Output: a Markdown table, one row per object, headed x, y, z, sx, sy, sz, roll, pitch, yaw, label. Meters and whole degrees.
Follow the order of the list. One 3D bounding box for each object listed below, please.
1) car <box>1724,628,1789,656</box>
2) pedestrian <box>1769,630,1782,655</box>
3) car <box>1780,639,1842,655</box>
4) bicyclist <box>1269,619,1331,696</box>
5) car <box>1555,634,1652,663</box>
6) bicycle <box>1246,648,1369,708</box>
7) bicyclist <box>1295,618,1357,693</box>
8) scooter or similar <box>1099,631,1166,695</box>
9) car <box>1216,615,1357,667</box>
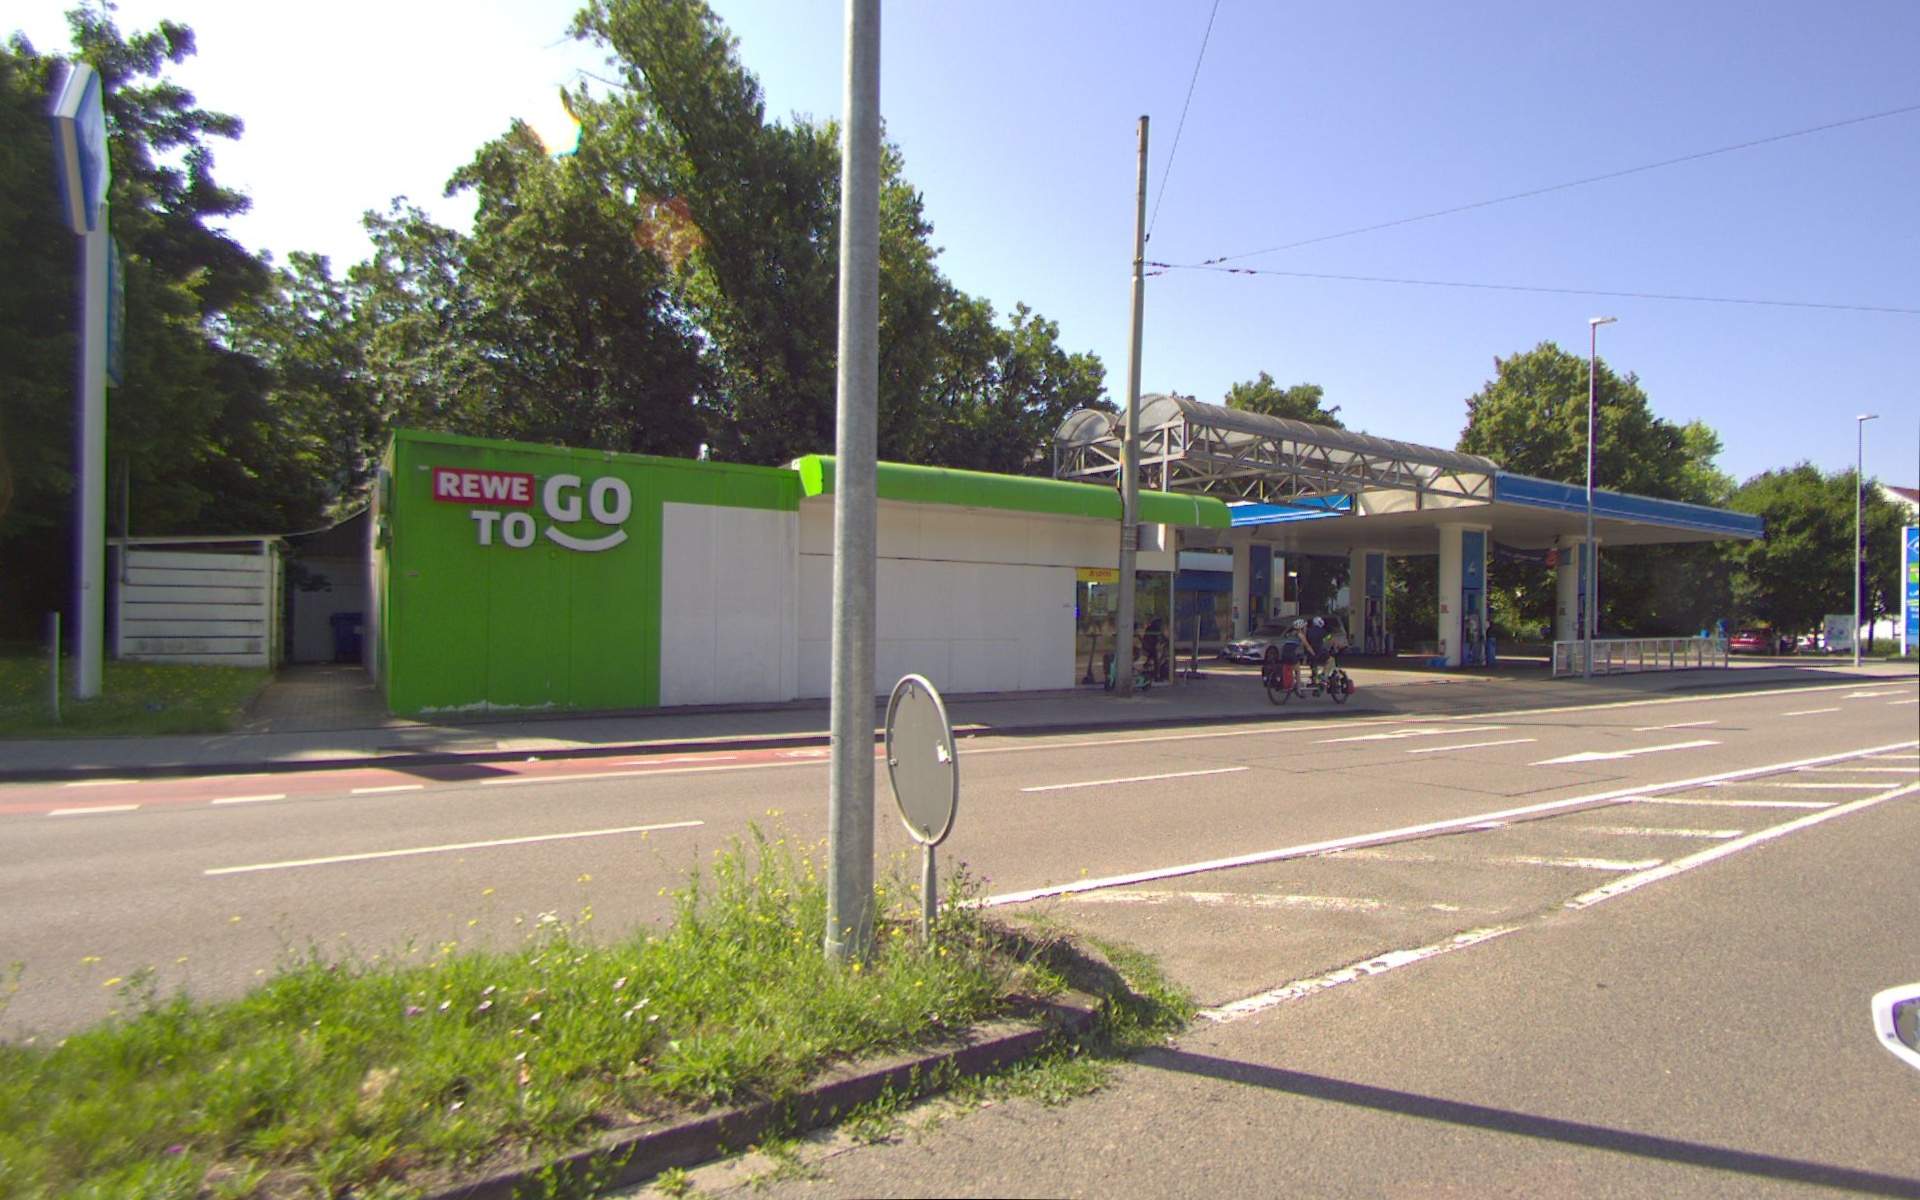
| x | y | z | sx | sy | sz | roll | pitch | yaw | label |
| --- | --- | --- | --- | --- | --- | --- | --- | --- | --- |
| 47.907 | 2.495 | 60.368 | 4.470 | 1.591 | 1.789 | 0 | 0 | -34 | car |
| 48.723 | 2.522 | 59.994 | 0.495 | 1.501 | 0.496 | 1 | -1 | -33 | pedestrian |
| 70.364 | 3.841 | 83.099 | 1.552 | 1.221 | 3.644 | 1 | -1 | -22 | car |
| 6.735 | 1.121 | 19.927 | 0.823 | 1.455 | 0.842 | 0 | 1 | -31 | bicyclist |
| 33.351 | 2.509 | 52.089 | 4.167 | 1.363 | 1.802 | 1 | -1 | -10 | car |
| 6.995 | 1.527 | 20.138 | 2.742 | 1.109 | 0.820 | 1 | -1 | -33 | bicycle |
| 7.397 | 1.105 | 20.301 | 0.823 | 1.455 | 0.842 | 1 | 0 | -31 | bicyclist |
| 3.499 | 1.268 | 20.365 | 1.327 | 1.253 | 0.440 | 1 | -1 | -24 | scooter or similar |
| 12.285 | 1.509 | 37.602 | 5.904 | 1.805 | 1.832 | 1 | -1 | -35 | car |
